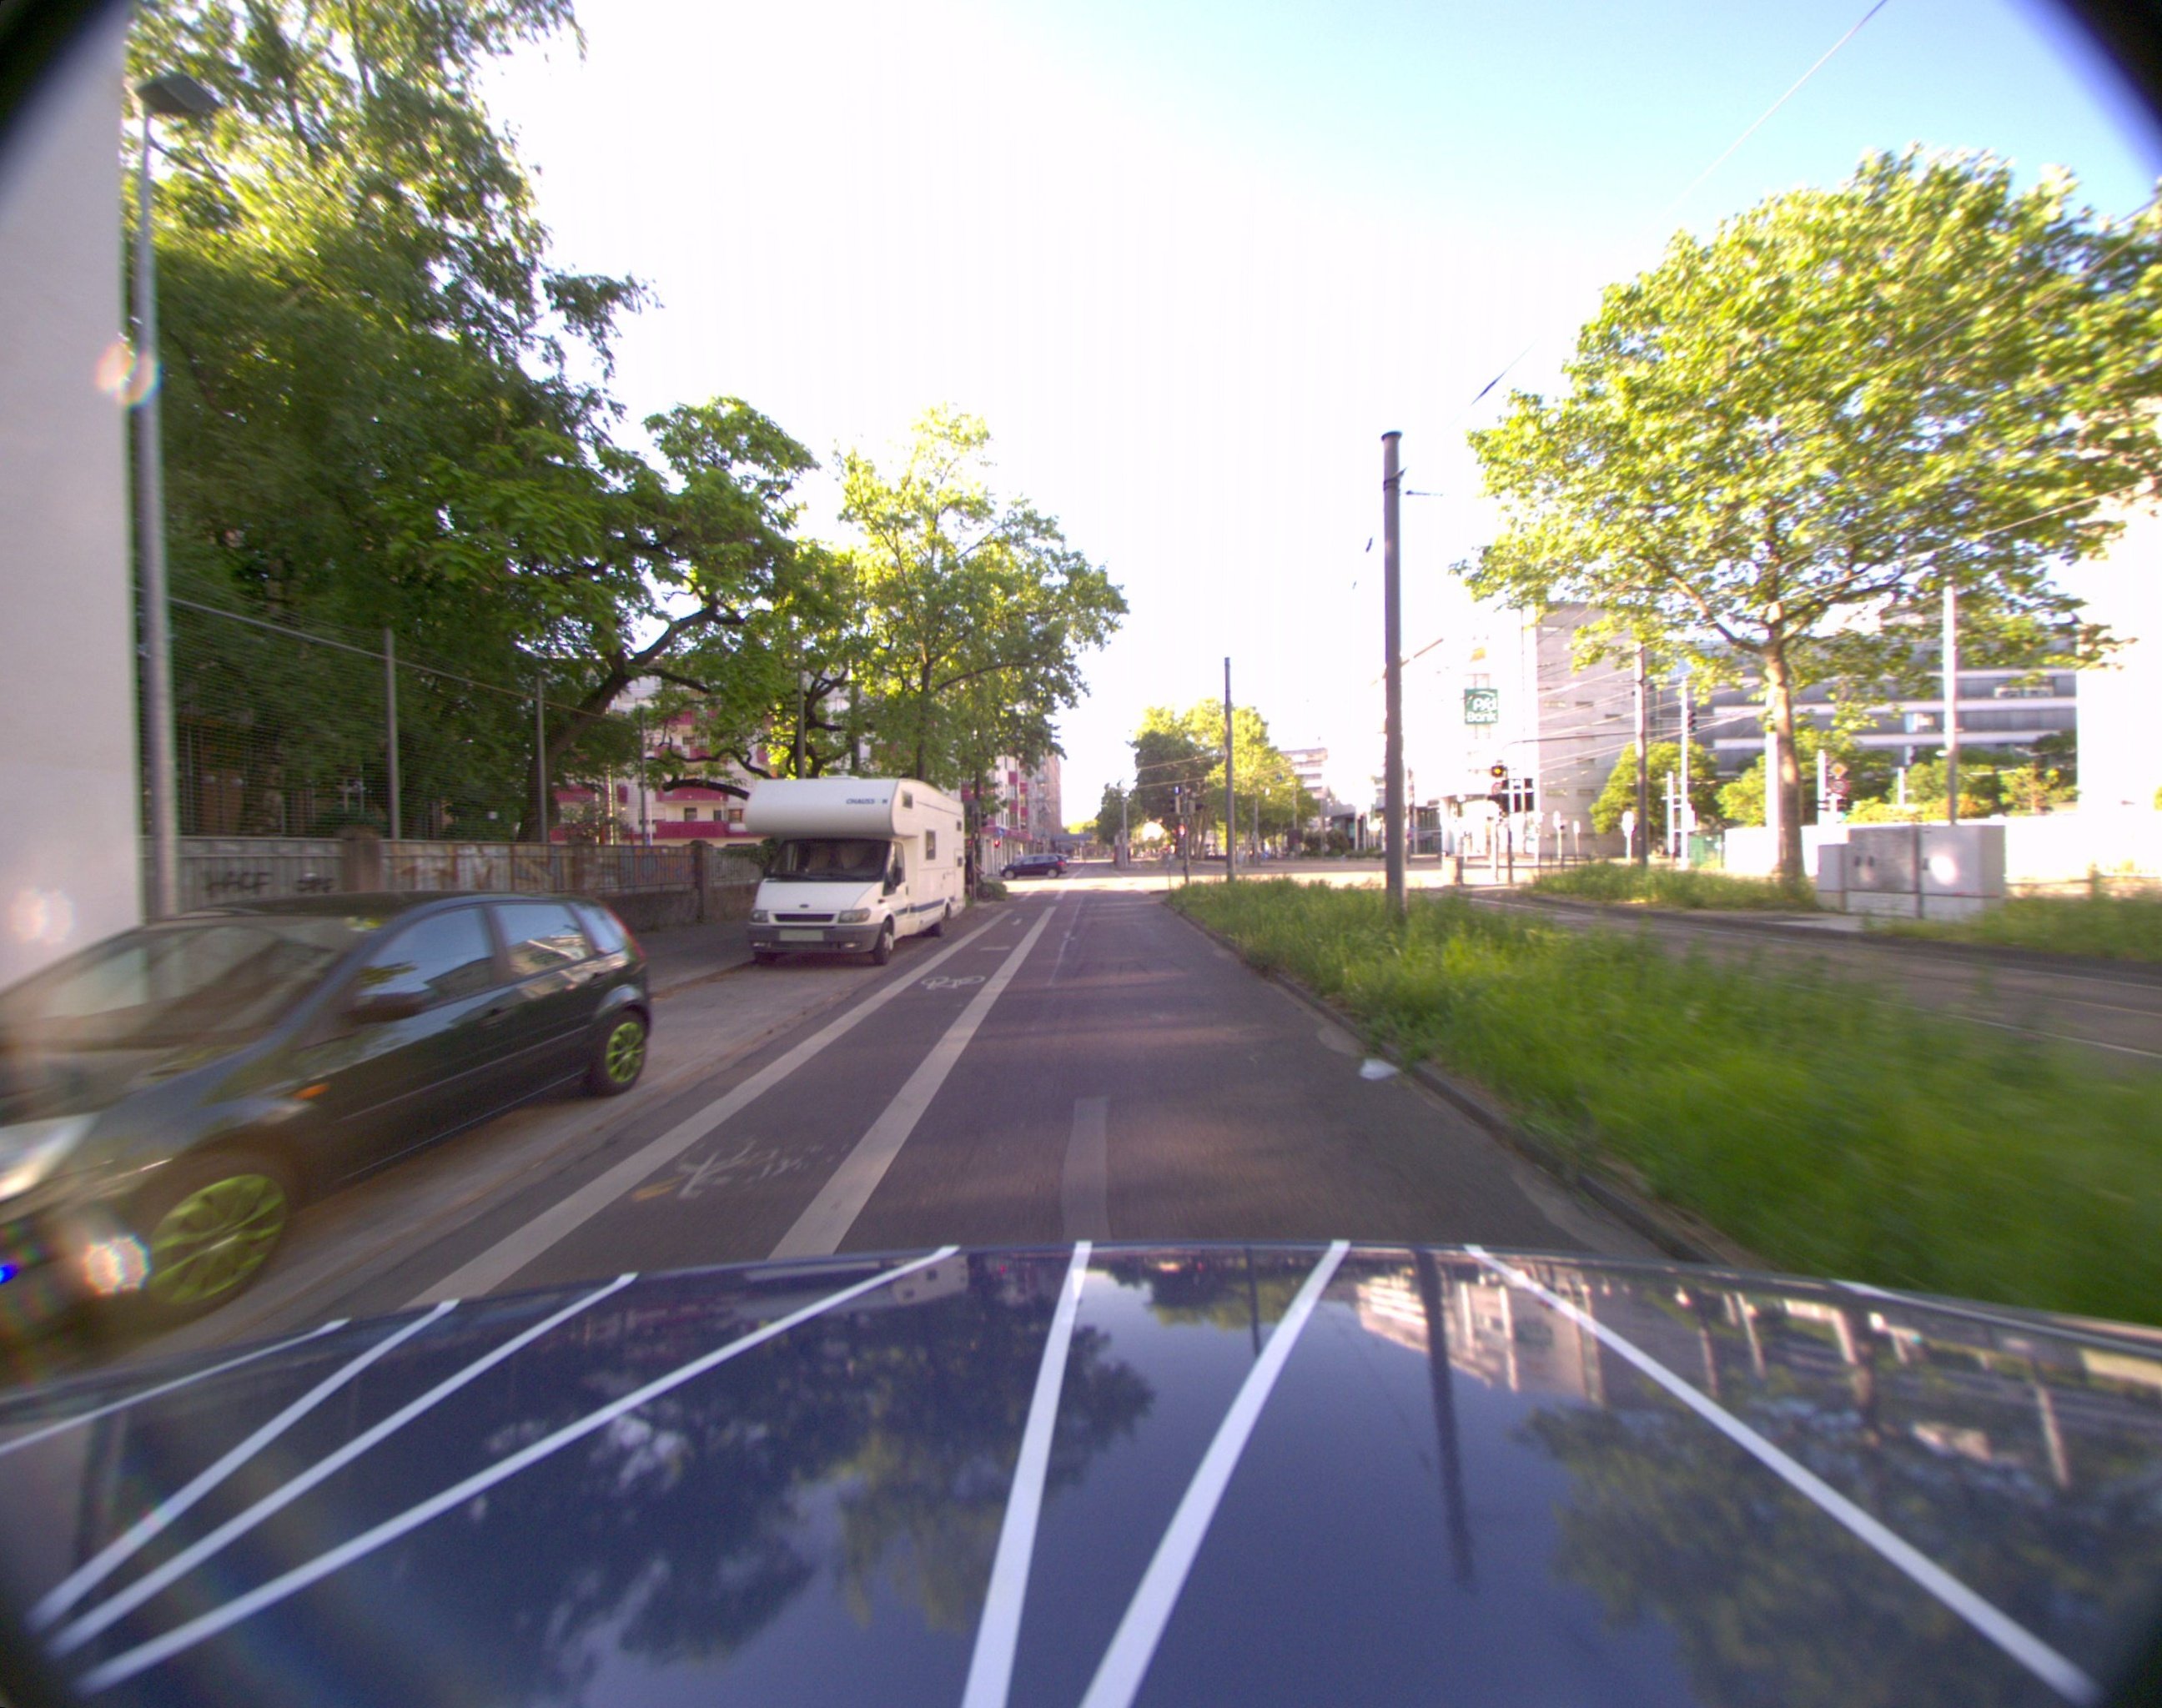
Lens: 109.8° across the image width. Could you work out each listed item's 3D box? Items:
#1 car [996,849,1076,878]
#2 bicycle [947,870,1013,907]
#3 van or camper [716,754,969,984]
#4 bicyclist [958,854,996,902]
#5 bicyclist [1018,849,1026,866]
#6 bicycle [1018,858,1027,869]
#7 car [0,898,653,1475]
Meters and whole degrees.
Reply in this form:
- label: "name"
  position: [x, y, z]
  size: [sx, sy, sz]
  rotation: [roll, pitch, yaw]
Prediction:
- label: "car"
  position: [-2.928, 0.608, 50.300]
  size: [5.077, 1.695, 1.913]
  rotation: [-2, 1, 4]
- label: "bicycle"
  position: [-3.434, 1.149, 25.911]
  size: [2.087, 1.122, 0.758]
  rotation: [-2, 1, -30]
- label: "van or camper"
  position: [-3.739, 0.193, 13.844]
  size: [2.172, 3.075, 7.290]
  rotation: [0, 0, 1]
- label: "bicyclist"
  position: [-3.531, 0.791, 25.858]
  size: [1.009, 1.567, 0.758]
  rotation: [-2, 1, -30]
- label: "bicyclist"
  position: [-4.846, 0.304, 62.601]
  size: [0.550, 1.333, 0.616]
  rotation: [-2, 1, 1]
- label: "bicycle"
  position: [-4.829, 0.764, 62.538]
  size: [0.566, 0.872, 1.718]
  rotation: [-2, 1, 1]
- label: "car"
  position: [-3.921, 1.049, 3.577]
  size: [1.656, 1.439, 3.800]
  rotation: [0, 0, 0]
